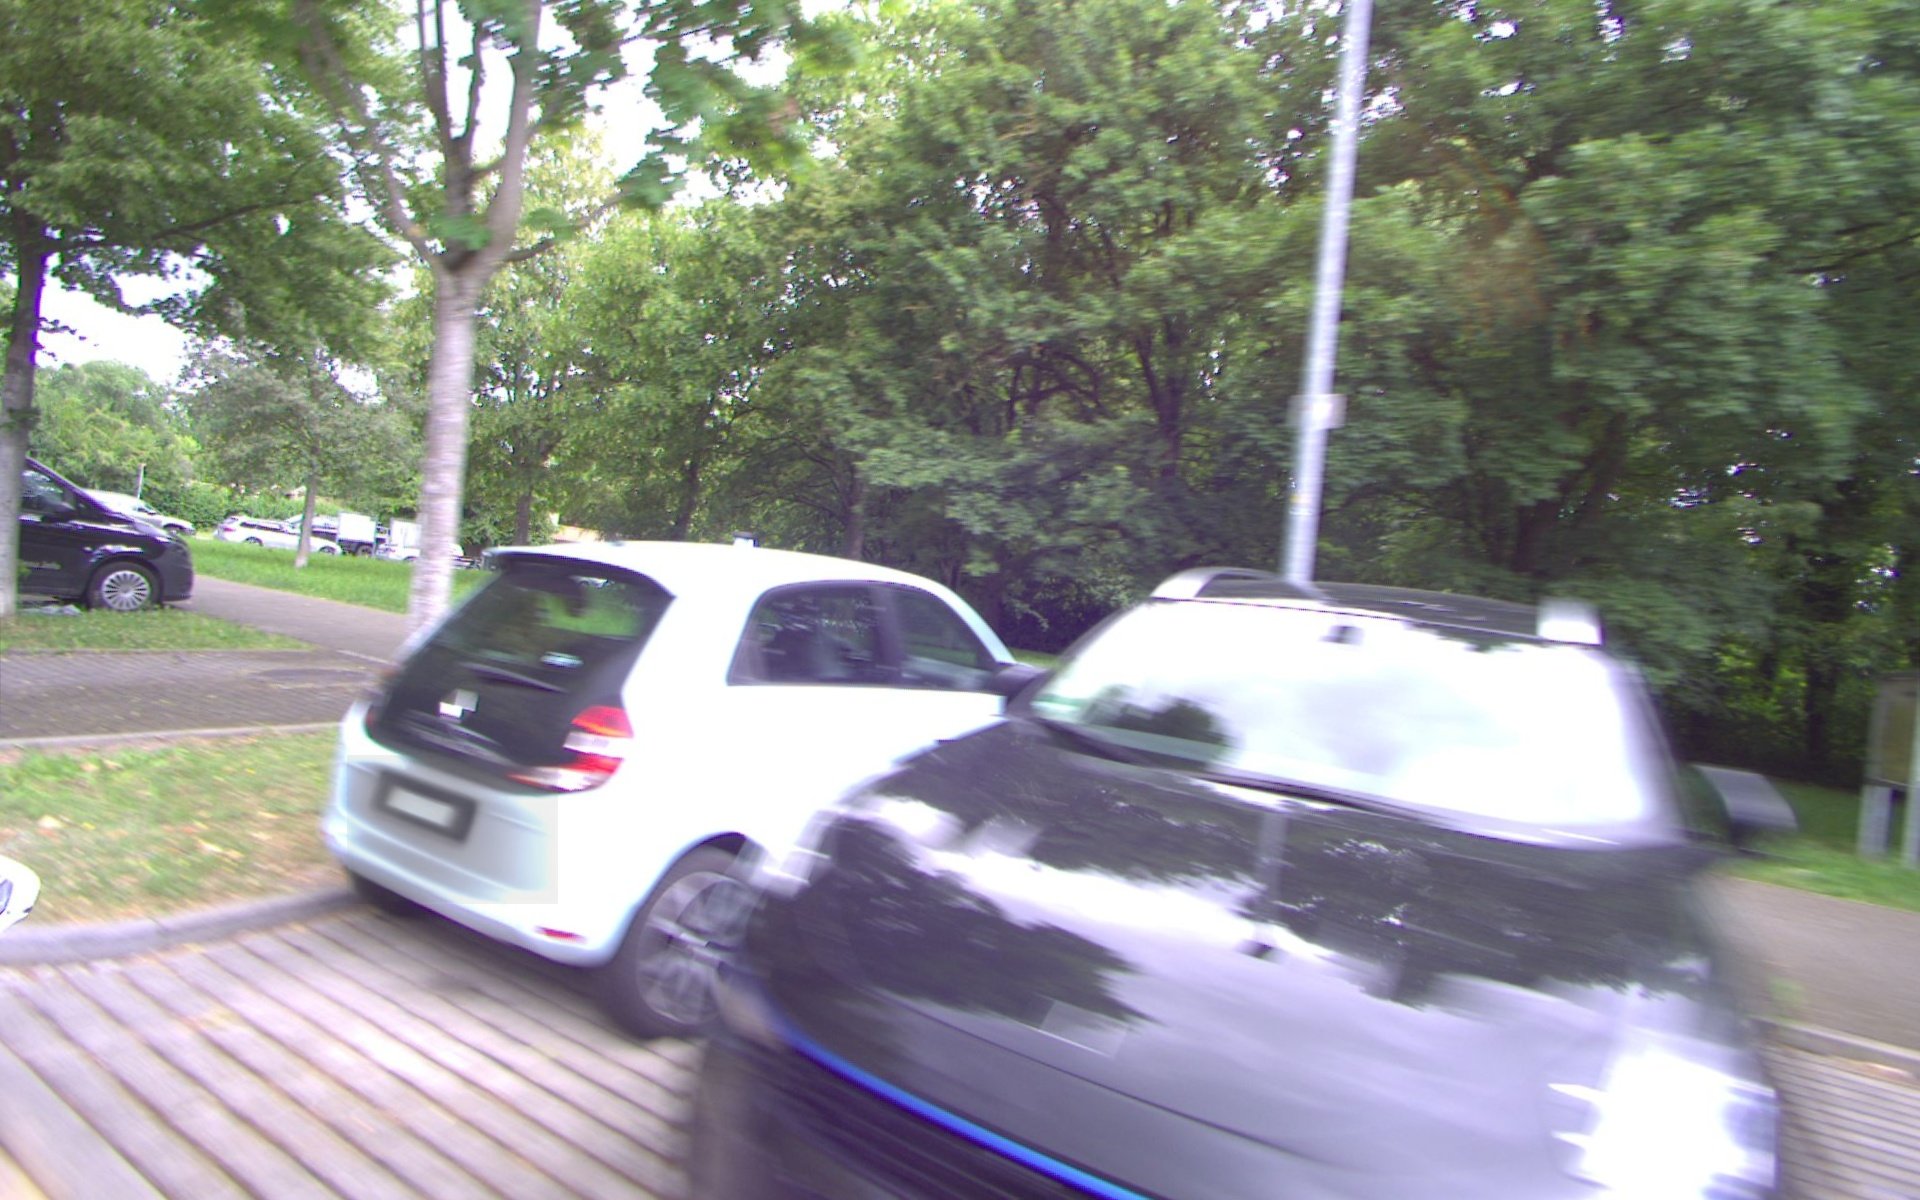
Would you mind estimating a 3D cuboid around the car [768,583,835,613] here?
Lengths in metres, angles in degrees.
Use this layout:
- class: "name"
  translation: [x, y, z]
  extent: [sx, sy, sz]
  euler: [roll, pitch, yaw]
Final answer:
- class: "car"
  translation: [-10.506, -0.115, 66.836]
  extent: [1.678, 1.544, 4.281]
  euler: [6, -1, 38]

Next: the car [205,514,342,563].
- class: "car"
  translation: [-28.934, -2.558, 42.512]
  extent: [1.677, 1.445, 4.392]
  euler: [6, -1, 37]

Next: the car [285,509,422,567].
- class: "car"
  translation: [-30.130, -3.036, 50.120]
  extent: [2.105, 2.082, 5.318]
  euler: [7, -1, 37]

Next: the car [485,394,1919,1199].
- class: "car"
  translation: [1.246, 0.721, 3.034]
  extent: [2.047, 1.697, 4.418]
  euler: [8, 1, 31]

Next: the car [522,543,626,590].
- class: "car"
  translation: [-22.927, -1.953, 59.961]
  extent: [2.105, 2.082, 5.318]
  euler: [7, -1, 37]

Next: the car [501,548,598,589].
- class: "car"
  translation: [-21.321, -1.617, 52.390]
  extent: [1.678, 1.544, 4.281]
  euler: [6, -1, 38]

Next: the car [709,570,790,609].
- class: "car"
  translation: [-14.610, -0.676, 70.041]
  extent: [2.105, 2.082, 5.318]
  euler: [7, -1, 37]

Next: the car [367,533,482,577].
- class: "car"
  translation: [-25.207, -2.086, 47.456]
  extent: [1.678, 1.445, 4.427]
  euler: [6, -1, 38]

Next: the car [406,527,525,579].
- class: "car"
  translation: [-26.851, -2.524, 54.844]
  extent: [2.105, 2.082, 5.318]
  euler: [7, -1, 37]

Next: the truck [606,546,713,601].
- class: "truck"
  translation: [-17.273, -1.509, 58.041]
  extent: [2.160, 2.456, 5.505]
  euler: [7, -1, 37]

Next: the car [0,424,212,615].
- class: "car"
  translation: [-11.658, -1.018, 11.105]
  extent: [2.130, 2.040, 4.955]
  euler: [7, 2, 32]

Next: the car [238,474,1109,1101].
- class: "car"
  translation: [-0.889, 0.522, 4.557]
  extent: [1.766, 1.595, 3.381]
  euler: [8, 2, 31]

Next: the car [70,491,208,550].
- class: "car"
  translation: [-31.707, -3.052, 38.924]
  extent: [1.741, 1.689, 3.777]
  euler: [7, 0, 38]
